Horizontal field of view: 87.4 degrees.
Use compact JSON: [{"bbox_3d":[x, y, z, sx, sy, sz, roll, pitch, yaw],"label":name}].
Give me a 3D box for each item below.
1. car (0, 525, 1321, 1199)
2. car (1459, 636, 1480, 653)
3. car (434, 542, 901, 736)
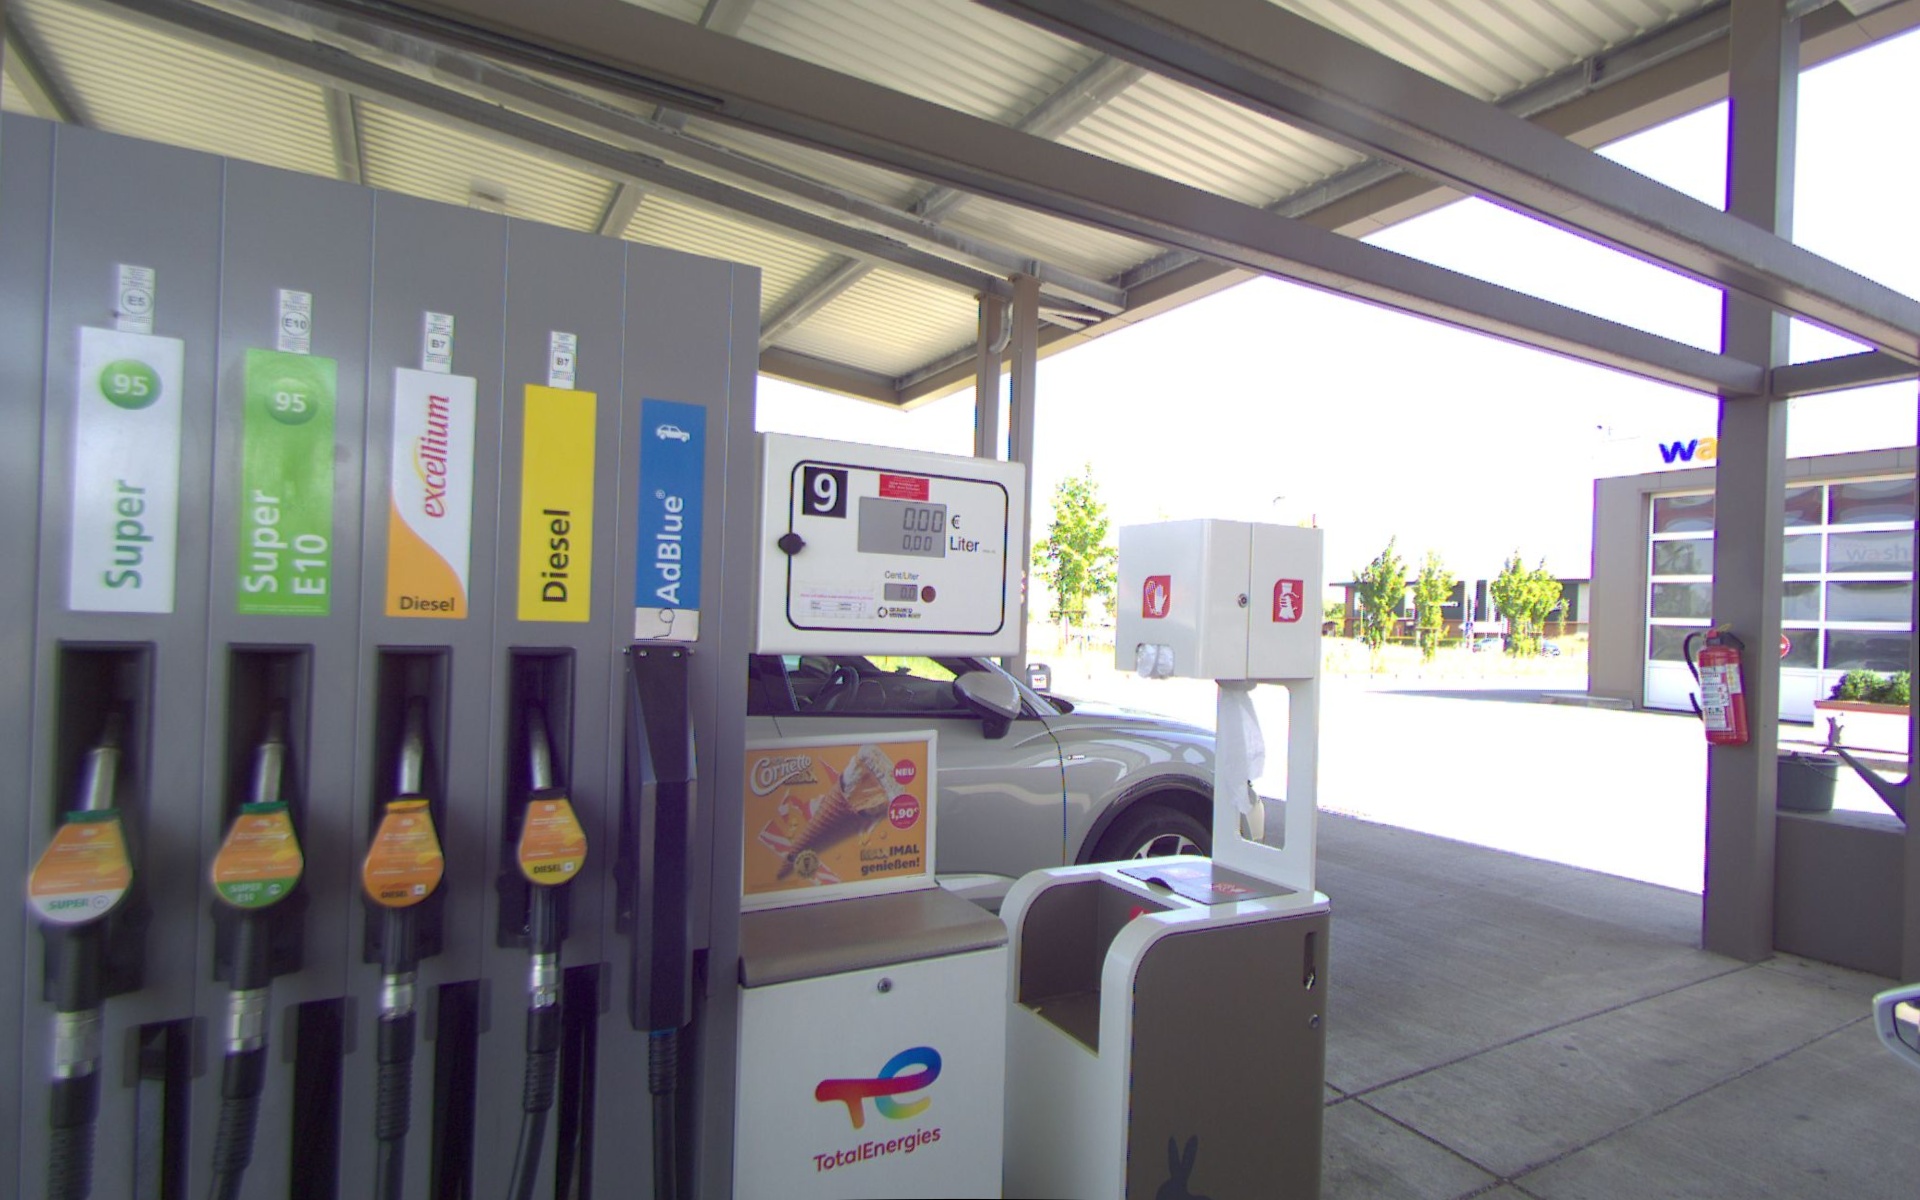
[{"bbox_3d":[-0.786,0.670,3.936,4.273,1.562,1.772,2,-1,-29],"label":"car"},{"bbox_3d":[53.220,4.623,104.946,1.770,1.617,3.993,1,-1,30],"label":"car"},{"bbox_3d":[-3.045,0.396,10.832,4.488,1.710,1.848,2,-1,-33],"label":"car"}]
